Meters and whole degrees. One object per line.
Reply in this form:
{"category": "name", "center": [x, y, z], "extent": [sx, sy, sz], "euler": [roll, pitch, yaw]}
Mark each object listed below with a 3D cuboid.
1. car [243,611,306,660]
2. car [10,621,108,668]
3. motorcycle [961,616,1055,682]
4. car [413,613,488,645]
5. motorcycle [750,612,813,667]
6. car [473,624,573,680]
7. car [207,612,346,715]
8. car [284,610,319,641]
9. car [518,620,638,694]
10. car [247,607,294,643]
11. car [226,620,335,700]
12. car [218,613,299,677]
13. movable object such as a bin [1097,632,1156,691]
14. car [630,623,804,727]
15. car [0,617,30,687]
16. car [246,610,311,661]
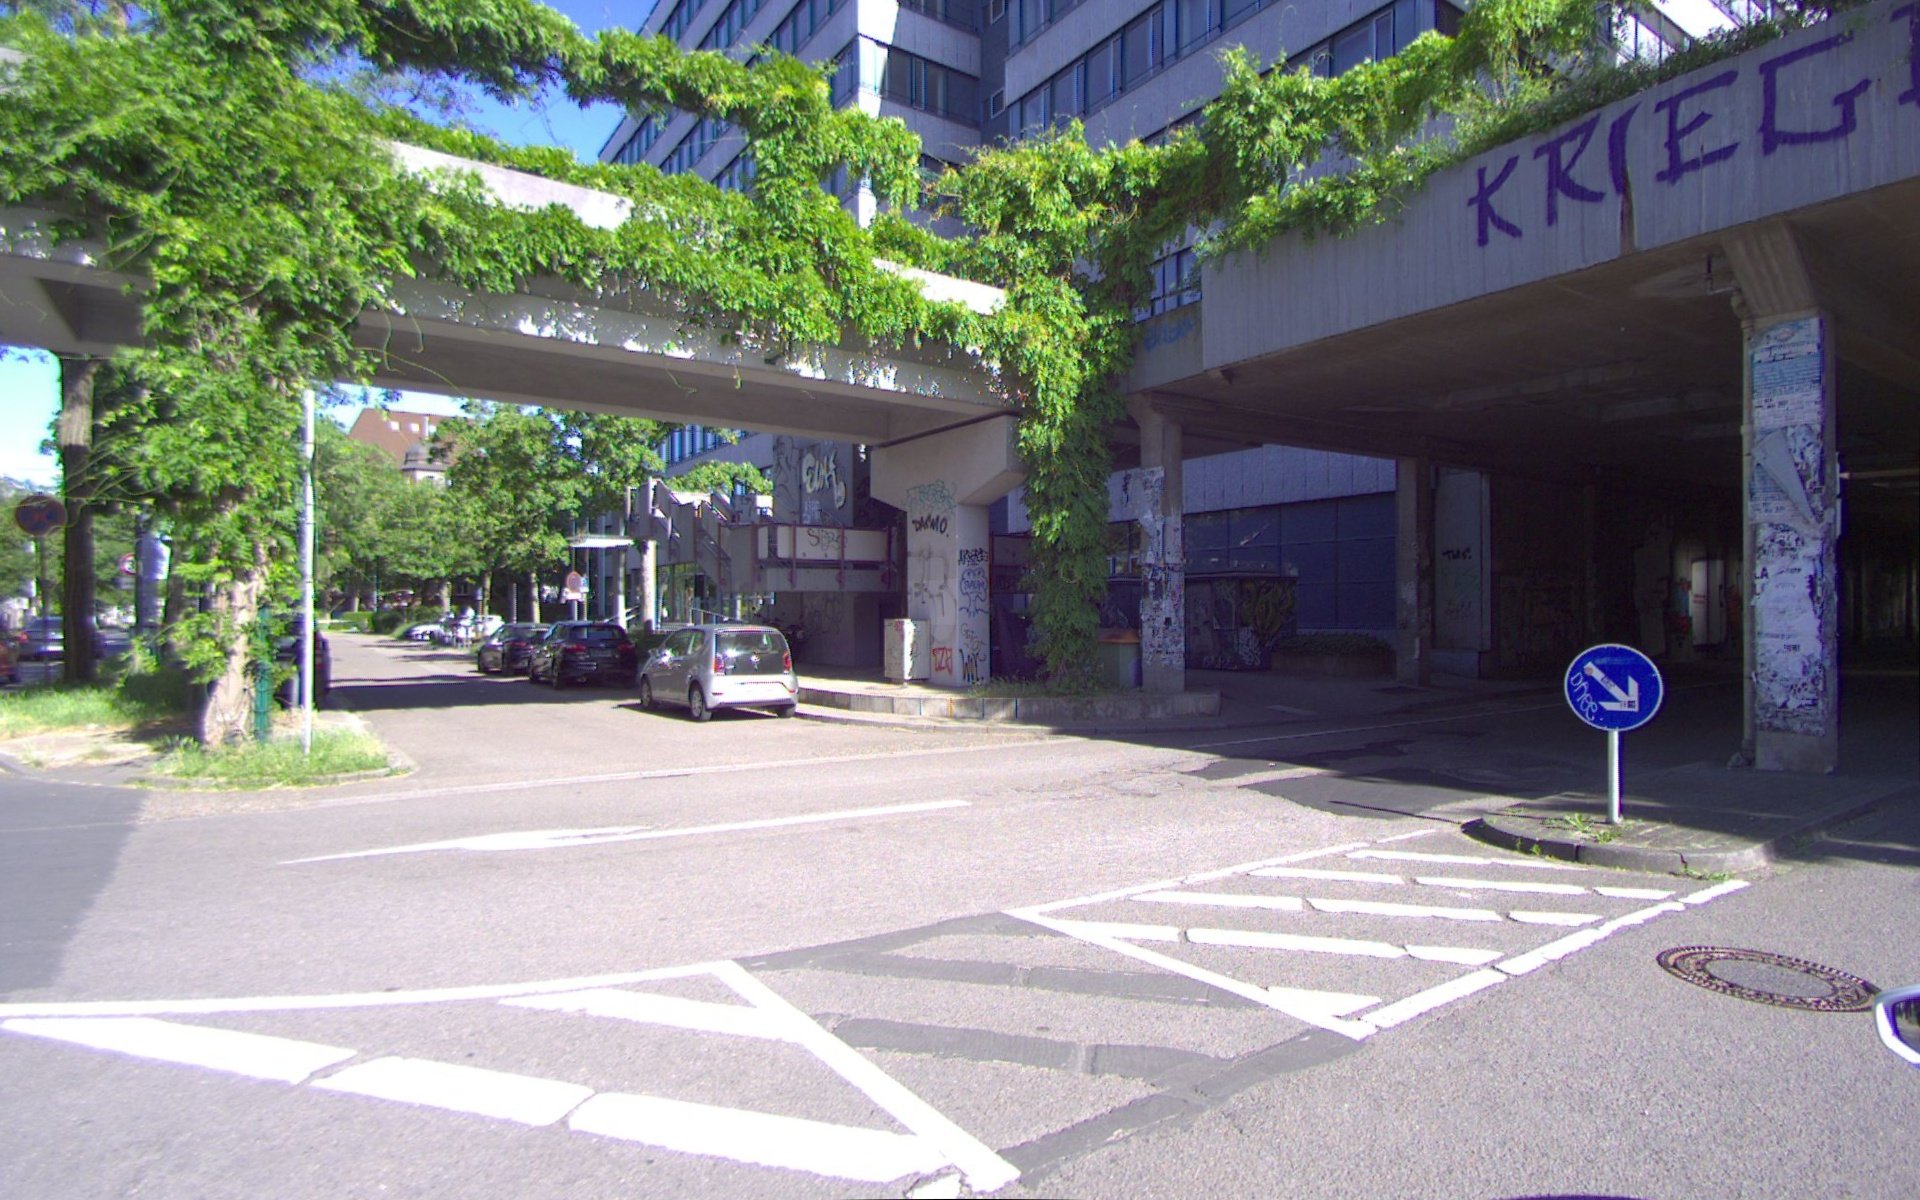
{"category": "car", "center": [-23.664, 1.173, 34.643], "extent": [1.718, 1.569, 4.405], "euler": [0, -1, -35]}
{"category": "car", "center": [-30.553, 1.466, 34.196], "extent": [1.853, 1.478, 4.549], "euler": [1, -1, -34]}
{"category": "motorcycle", "center": [1.012, 0.981, 20.685], "extent": [1.974, 1.281, 0.673], "euler": [0, -1, -37]}
{"category": "car", "center": [-31.104, 1.741, 61.356], "extent": [3.953, 1.737, 1.691], "euler": [-3, 1, -30]}
{"category": "motorcycle", "center": [-4.413, 0.947, 24.696], "extent": [0.724, 1.287, 2.033], "euler": [0, -1, -36]}
{"category": "car", "center": [-12.228, 1.396, 27.983], "extent": [1.671, 1.422, 3.760], "euler": [1, -1, -38]}
{"category": "car", "center": [-11.714, 1.026, 17.255], "extent": [1.728, 1.558, 3.743], "euler": [3, -2, -35]}
{"category": "car", "center": [-45.594, 1.755, 69.506], "extent": [1.979, 2.040, 4.256], "euler": [0, -1, -34]}
{"category": "car", "center": [-8.959, 1.250, 23.374], "extent": [1.721, 1.550, 3.961], "euler": [1, -1, -35]}
{"category": "car", "center": [-39.092, 1.383, 56.907], "extent": [2.052, 1.934, 4.480], "euler": [0, -1, -36]}
{"category": "car", "center": [-14.117, 1.189, 20.791], "extent": [1.642, 1.467, 4.238], "euler": [4, -3, -36]}
{"category": "car", "center": [-19.663, 1.207, 28.225], "extent": [1.760, 1.668, 4.044], "euler": [0, -1, -34]}
{"category": "movable object such as a bin", "center": [2.735, 0.994, 16.498], "extent": [0.635, 0.917, 0.711], "euler": [0, -1, -37]}
{"category": "car", "center": [-4.124, 1.142, 16.698], "extent": [1.595, 1.506, 3.612], "euler": [1, -1, -36]}
{"category": "car", "center": [-21.363, 1.093, 21.524], "extent": [1.640, 1.447, 3.472], "euler": [0, -1, -35]}
{"category": "car", "center": [-26.982, 1.361, 39.734], "extent": [1.981, 1.908, 4.194], "euler": [0, -1, -36]}
